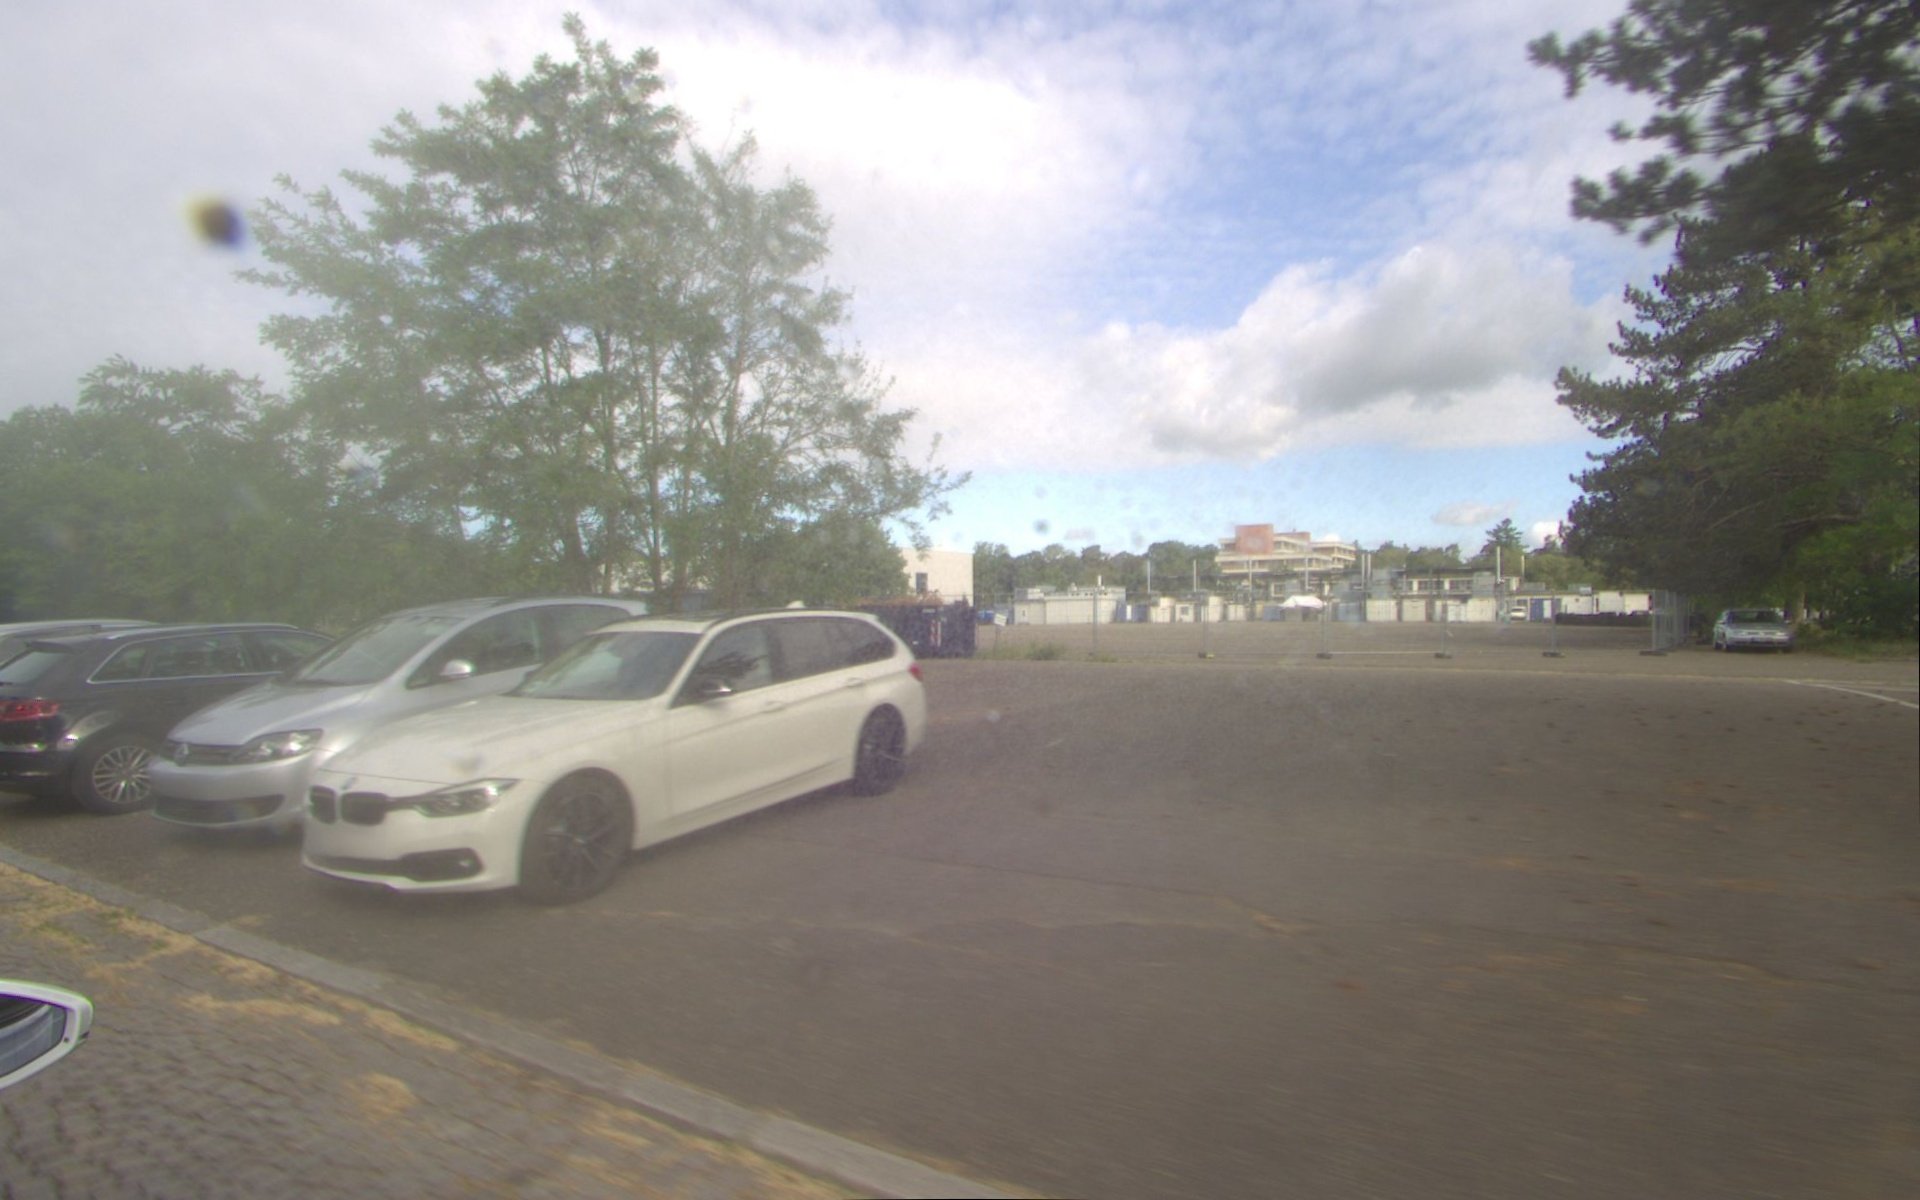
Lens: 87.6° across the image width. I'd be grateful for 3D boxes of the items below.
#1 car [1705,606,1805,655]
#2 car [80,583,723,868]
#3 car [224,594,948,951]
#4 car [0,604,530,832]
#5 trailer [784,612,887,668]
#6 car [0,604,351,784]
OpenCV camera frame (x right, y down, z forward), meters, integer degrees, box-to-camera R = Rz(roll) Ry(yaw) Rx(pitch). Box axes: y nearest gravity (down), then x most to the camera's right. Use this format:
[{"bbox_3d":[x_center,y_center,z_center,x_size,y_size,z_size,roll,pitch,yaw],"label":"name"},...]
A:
[{"bbox_3d":[26.079,0.954,32.981,1.836,1.493,4.134,0,0,28],"label":"car"},{"bbox_3d":[-4.135,0.739,8.289,1.799,1.596,4.323,-1,2,27],"label":"car"},{"bbox_3d":[-2.012,0.779,6.892,1.800,1.445,4.541,-1,2,30],"label":"car"},{"bbox_3d":[-6.548,0.856,9.428,1.770,1.425,4.356,0,3,31],"label":"car"},{"bbox_3d":[-2.771,0.893,22.538,1.127,1.185,2.309,-1,-2,31],"label":"trailer"},{"bbox_3d":[-8.923,0.882,10.657,1.716,1.500,3.764,0,3,30],"label":"car"}]
